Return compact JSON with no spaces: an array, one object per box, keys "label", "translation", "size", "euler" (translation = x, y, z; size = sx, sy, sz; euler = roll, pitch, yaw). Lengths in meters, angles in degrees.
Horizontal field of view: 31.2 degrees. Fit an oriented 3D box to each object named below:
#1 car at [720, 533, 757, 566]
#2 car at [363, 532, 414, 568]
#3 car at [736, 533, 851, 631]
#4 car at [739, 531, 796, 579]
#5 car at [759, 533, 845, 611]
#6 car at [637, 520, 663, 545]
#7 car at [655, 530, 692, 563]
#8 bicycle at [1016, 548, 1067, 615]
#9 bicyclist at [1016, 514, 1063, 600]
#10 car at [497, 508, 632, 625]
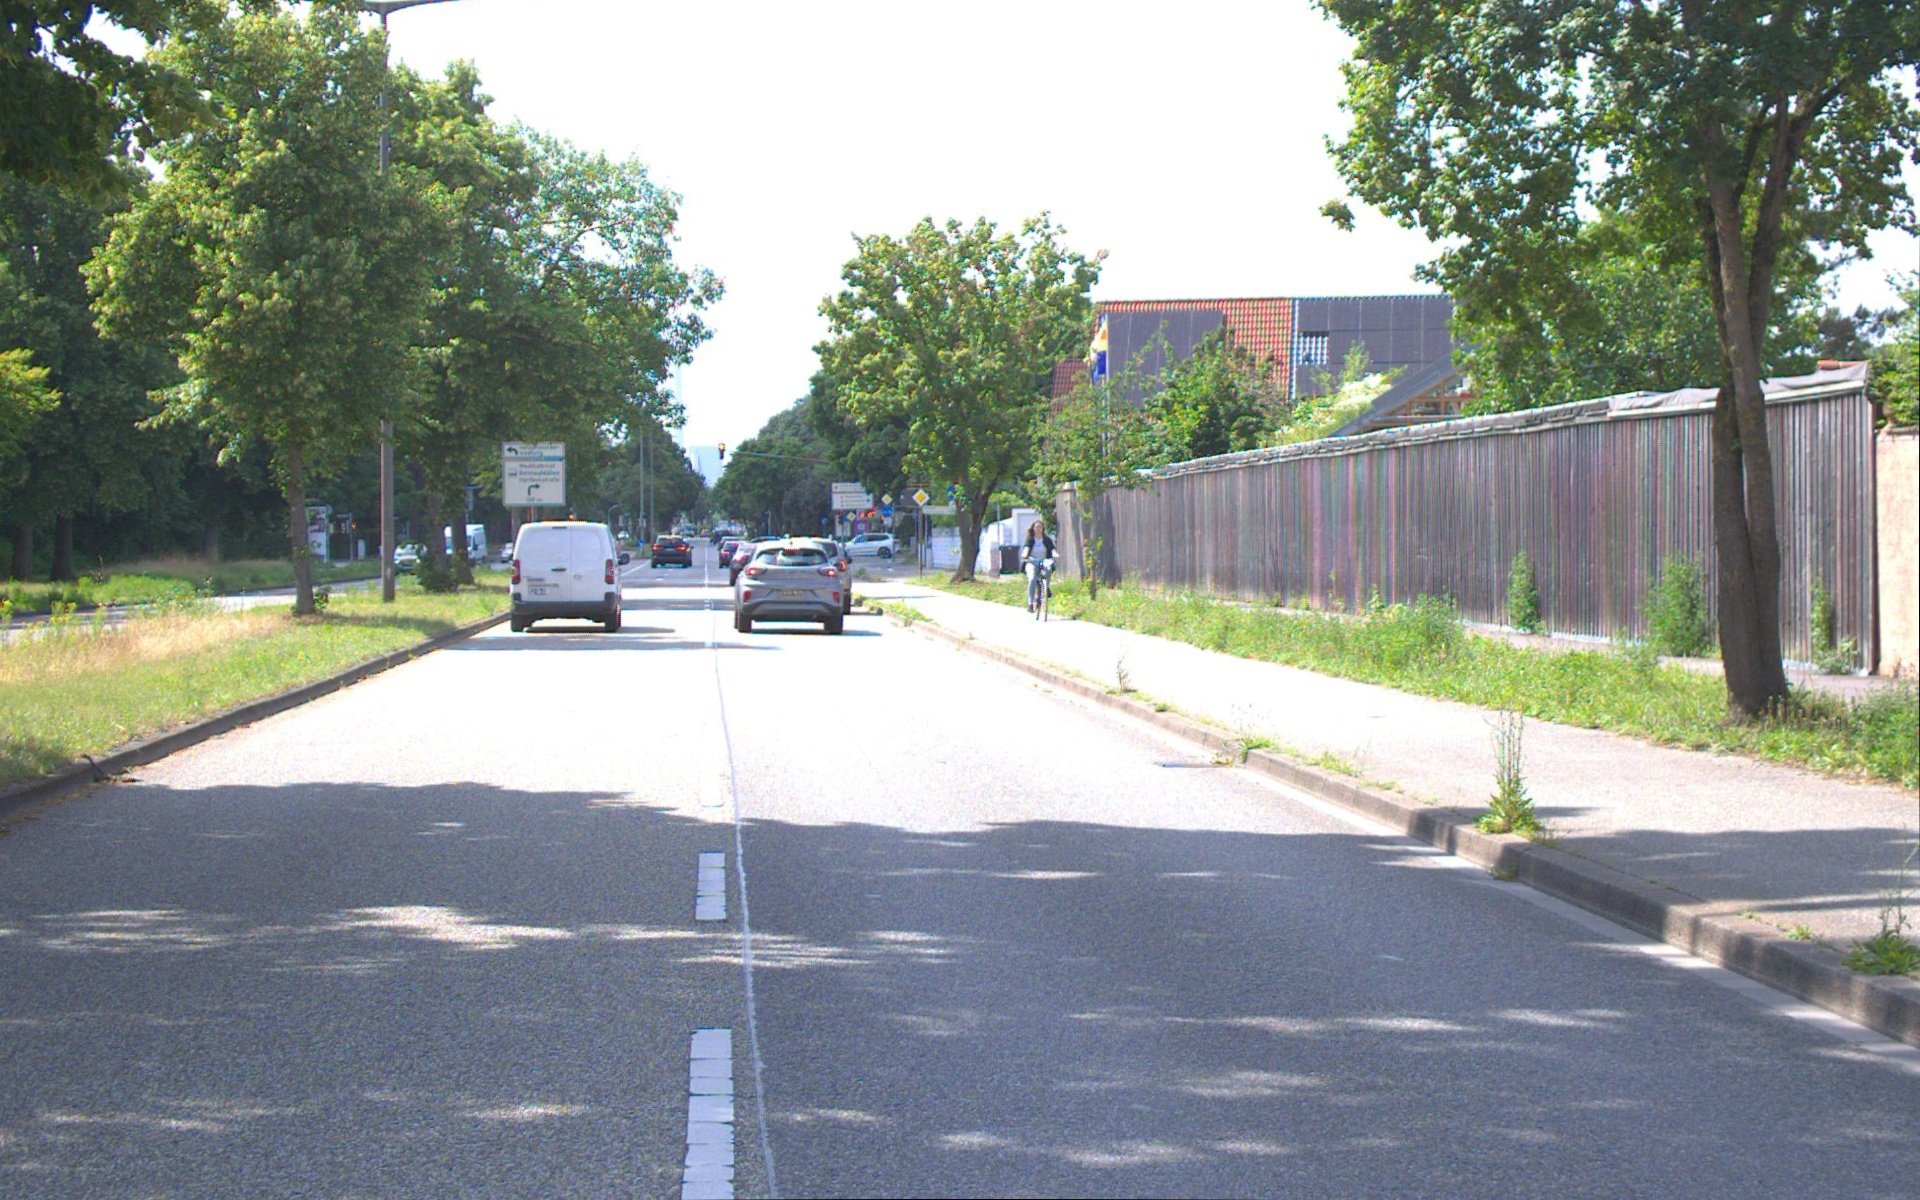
[{"label":"car","translation":[-12.306,-2.827,190.958],"size":[1.993,1.766,4.148],"euler":[1,1,-4]},{"label":"car","translation":[-27.290,-2.398,164.314],"size":[1.993,1.700,4.194],"euler":[0,1,-4]},{"label":"car","translation":[-2.860,-0.339,58.426],"size":[1.875,1.583,4.185],"euler":[0,1,-4]},{"label":"car","translation":[-6.571,-1.548,117.299],"size":[1.880,1.581,4.001],"euler":[0,1,-4]},{"label":"car","translation":[-3.456,-0.628,74.806],"size":[1.779,1.637,4.197],"euler":[0,1,-4]},{"label":"car","translation":[-21.864,-4.753,242.561],"size":[1.779,1.761,4.151],"euler":[0,1,-4]},{"label":"car","translation":[-15.754,-2.950,189.459],"size":[1.941,1.761,4.147],"euler":[0,1,-4]},{"label":"bicycle","translation":[1.367,-0.318,57.989],"size":[0.646,1.064,2.279],"euler":[-3,1,-3]},{"label":"bicyclist","translation":[1.341,-0.733,58.071],"size":[0.654,1.407,0.986],"euler":[-3,1,-3]},{"label":"car","translation":[-6.681,-0.613,58.461],"size":[2.065,1.905,4.647],"euler":[0,1,-4]}]
